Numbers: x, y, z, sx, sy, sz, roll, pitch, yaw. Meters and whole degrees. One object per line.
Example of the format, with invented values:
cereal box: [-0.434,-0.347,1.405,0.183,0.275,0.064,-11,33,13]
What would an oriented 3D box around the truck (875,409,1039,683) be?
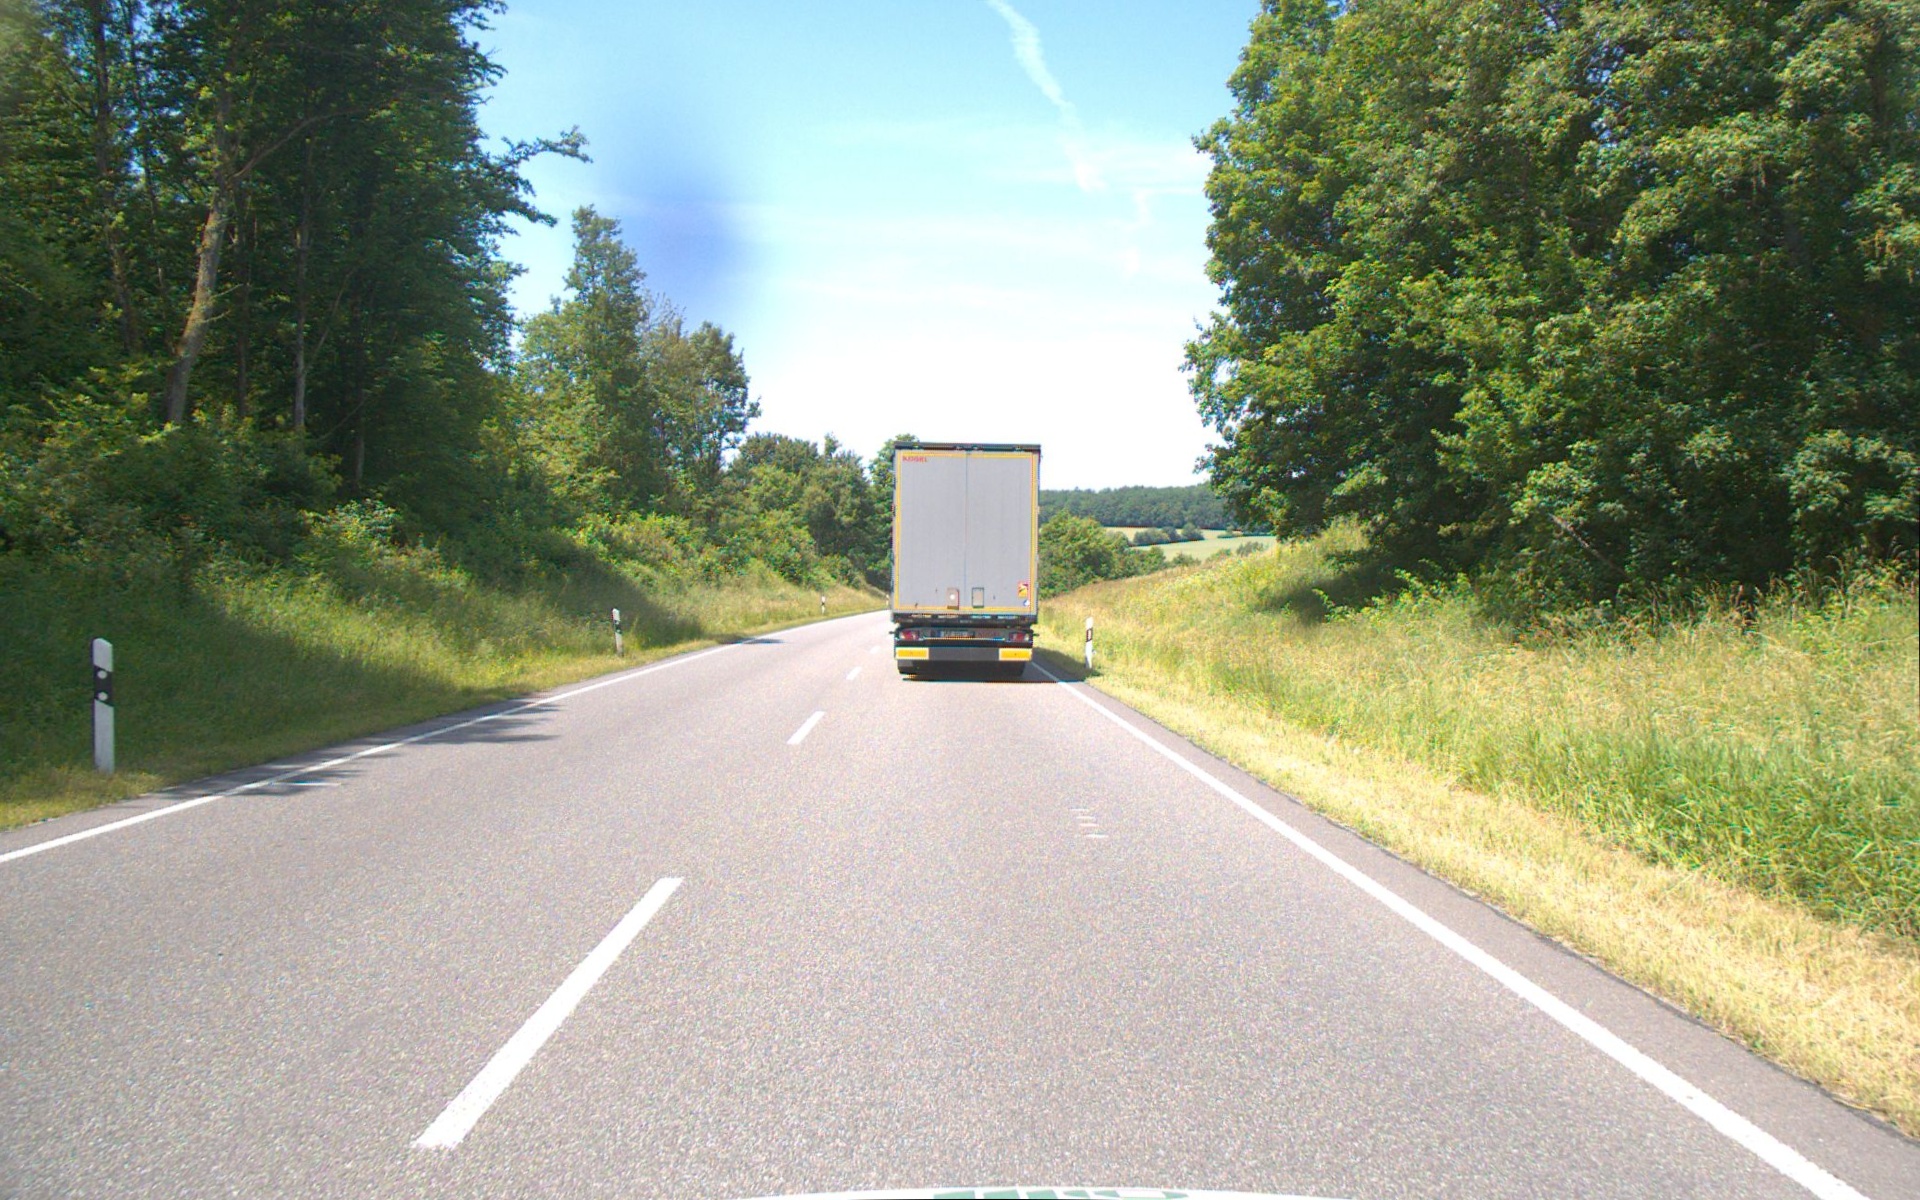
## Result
truck: [-0.130,-0.955,33.825,2.760,4.612,11.766,0,0,-1]
